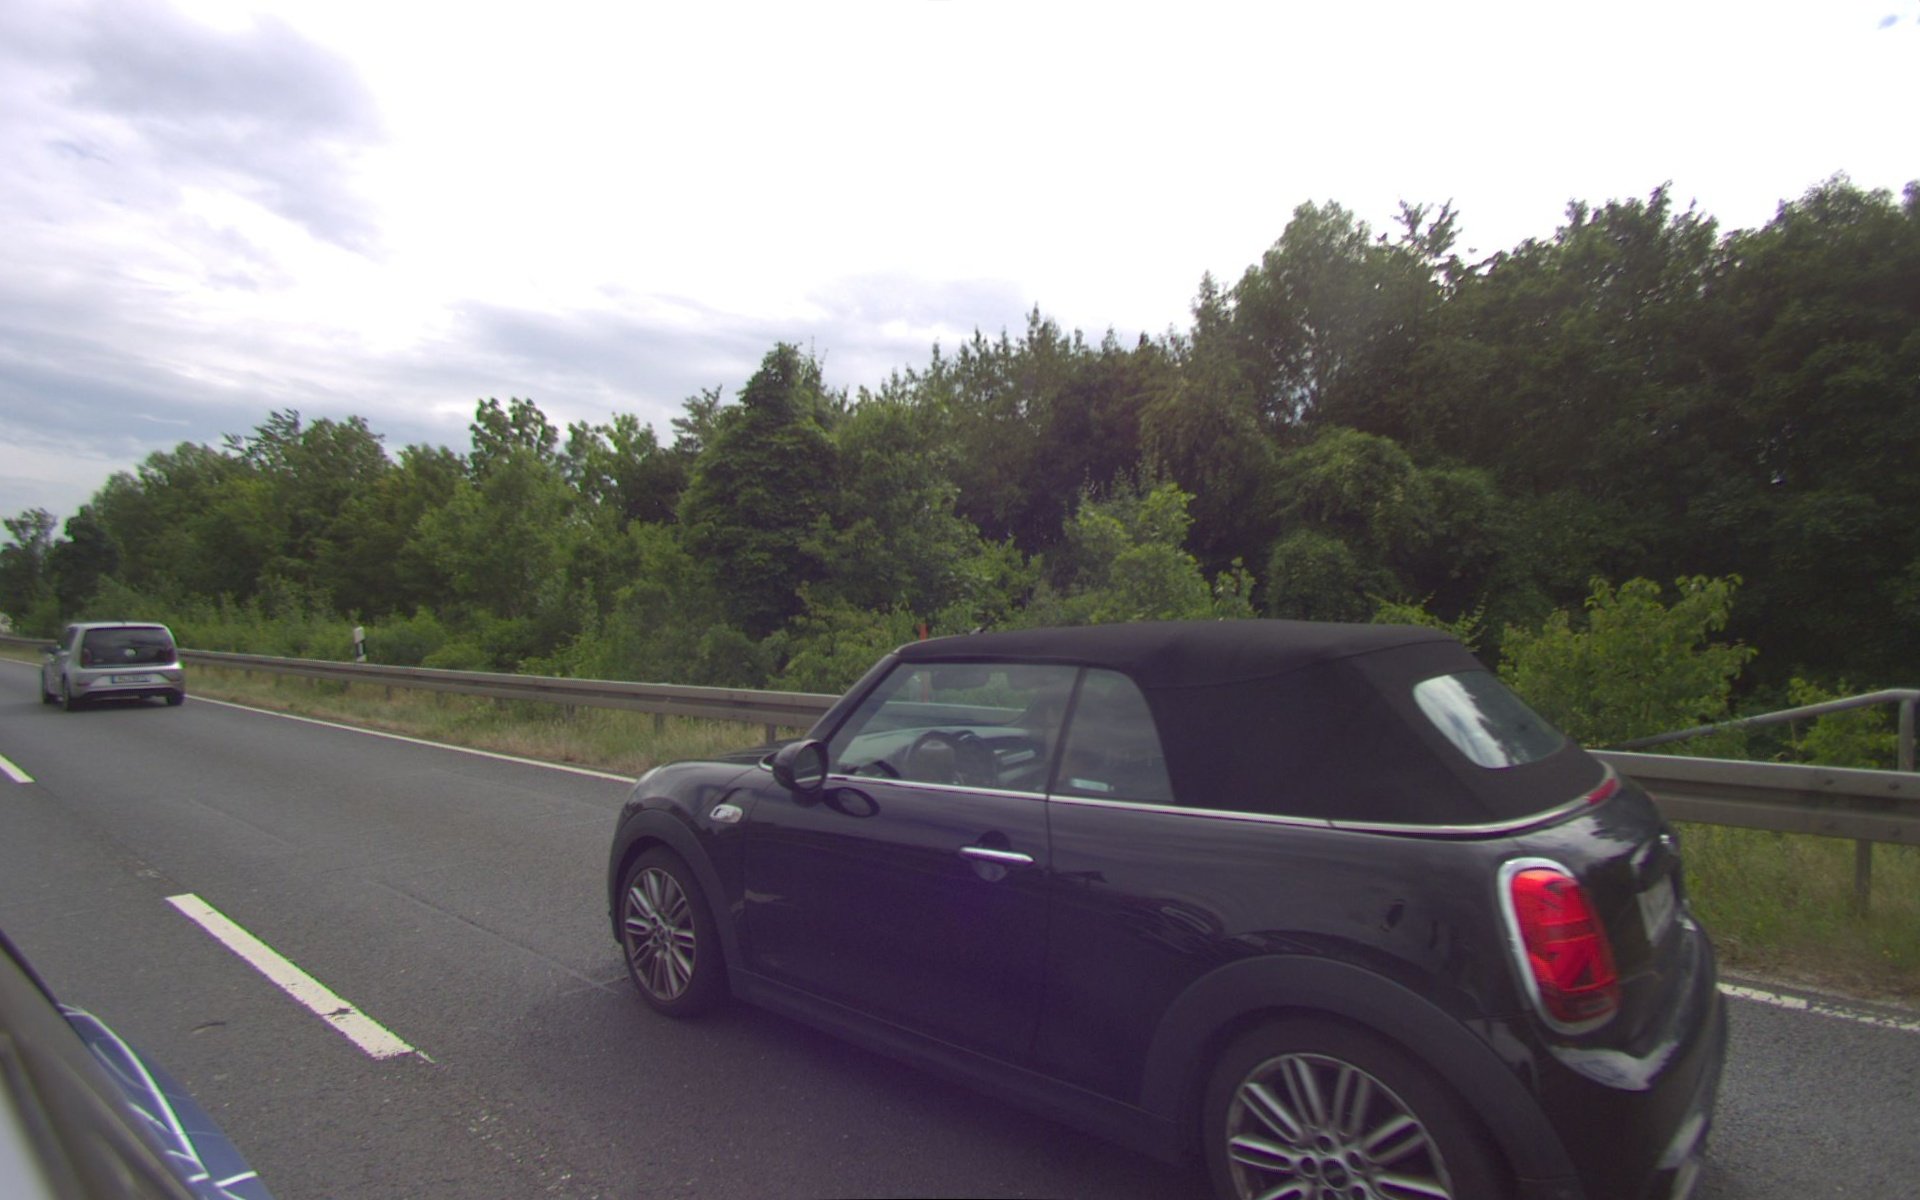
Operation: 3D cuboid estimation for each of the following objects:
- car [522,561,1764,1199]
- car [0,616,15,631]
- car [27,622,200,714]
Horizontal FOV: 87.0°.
[{"bbox_3d":[0.256,0.709,3.611,3.998,1.431,1.816,-2,-2,41],"label":"car"},{"bbox_3d":[-125.479,3.023,132.763,1.895,1.850,4.007,4,-3,-39],"label":"car"},{"bbox_3d":[-15.284,1.131,18.212,3.998,1.456,1.816,-1,-1,42],"label":"car"}]
